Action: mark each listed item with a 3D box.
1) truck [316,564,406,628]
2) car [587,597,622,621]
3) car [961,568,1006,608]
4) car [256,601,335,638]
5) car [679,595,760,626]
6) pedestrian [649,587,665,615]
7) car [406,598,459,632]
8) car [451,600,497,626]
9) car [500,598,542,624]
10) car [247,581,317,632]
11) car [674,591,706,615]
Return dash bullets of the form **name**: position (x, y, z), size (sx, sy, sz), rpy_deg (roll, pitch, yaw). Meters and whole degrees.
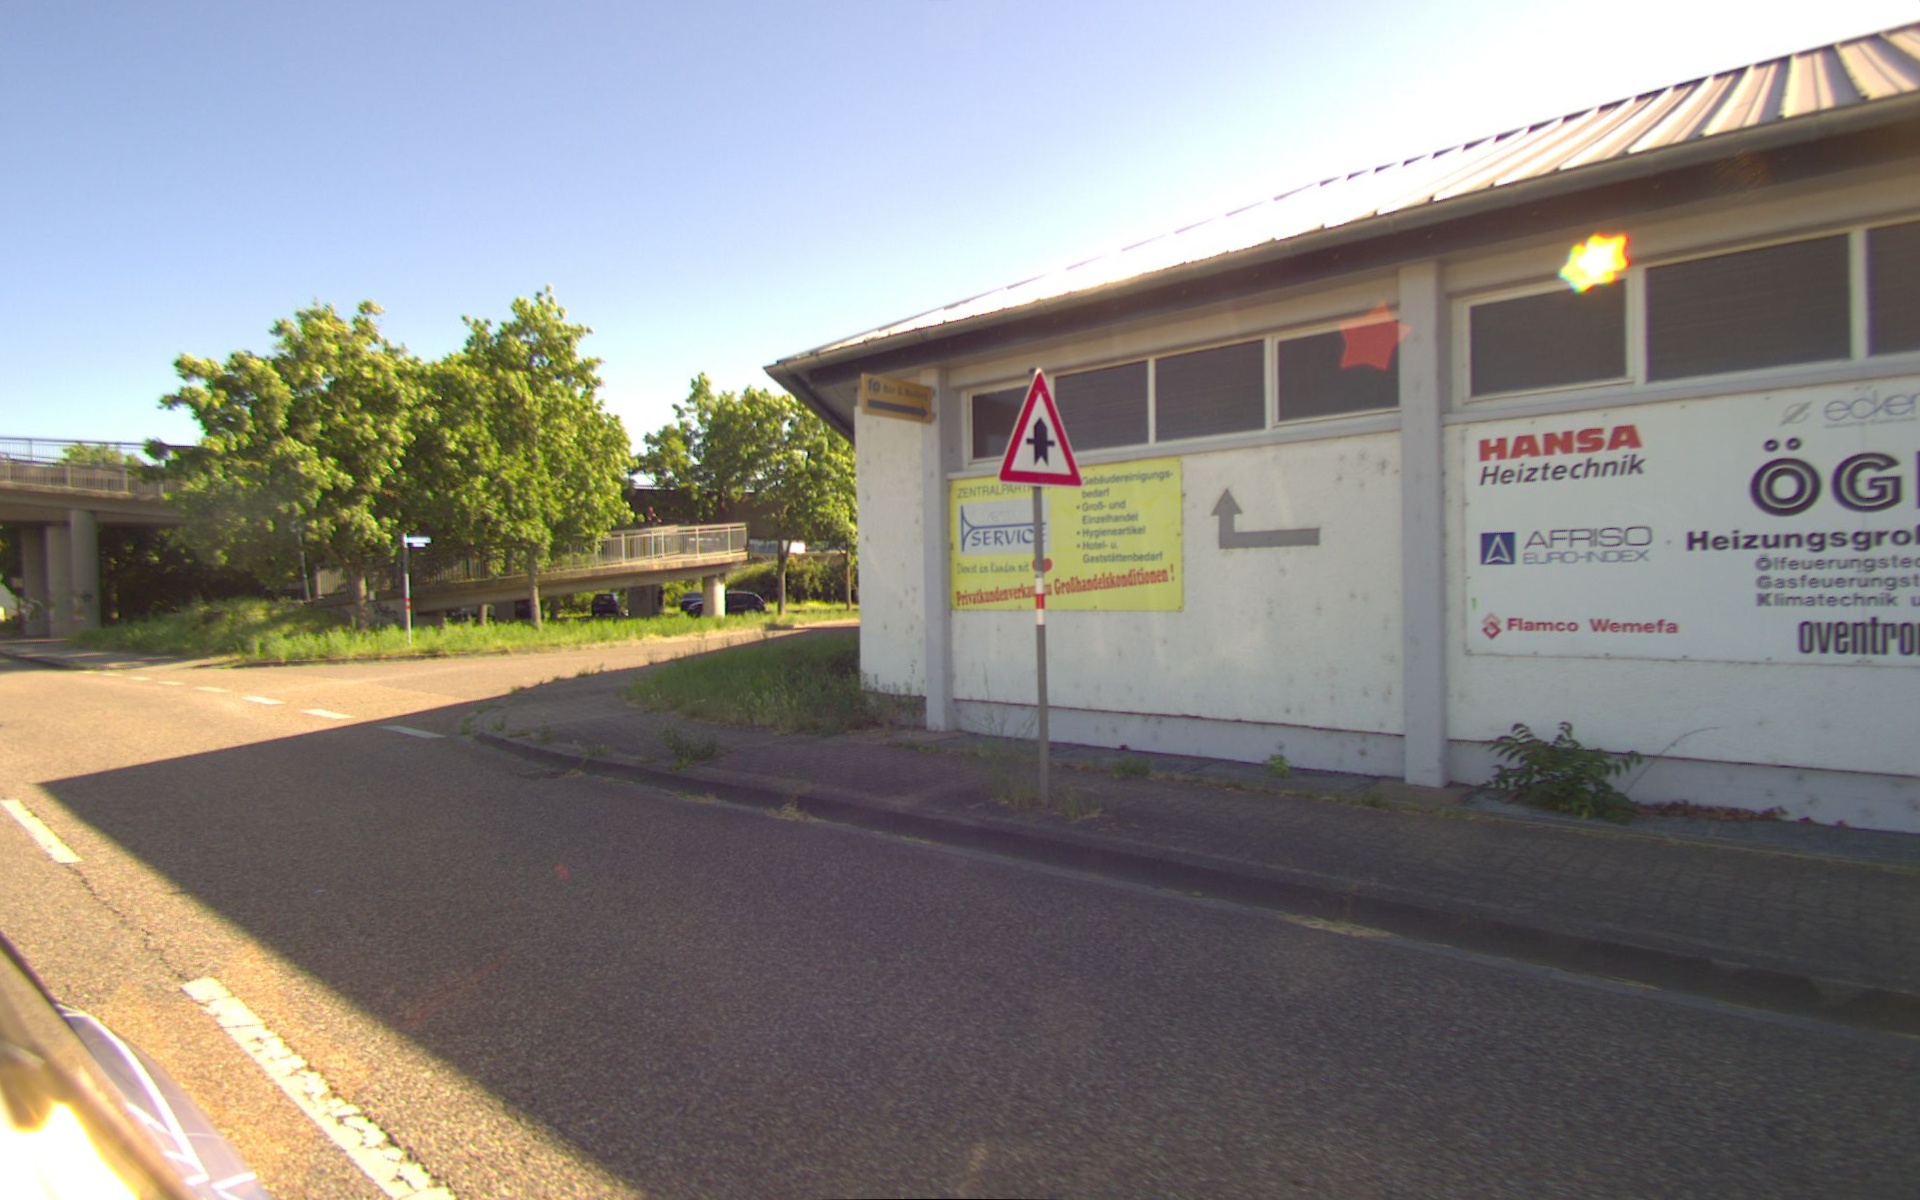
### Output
- **truck**: position (-36.168, -0.262, 61.383), size (2.441, 3.578, 7.989), rpy_deg (-1, 1, -14)
- **car**: position (-22.249, 0.531, 63.430), size (1.711, 1.453, 4.263), rpy_deg (-1, 1, -15)
- **car**: position (1.491, -0.796, 67.120), size (1.969, 2.525, 6.415), rpy_deg (-1, 1, -7)
- **car**: position (-31.572, 0.920, 48.206), size (1.838, 1.654, 4.294), rpy_deg (2, -1, -15)
- **car**: position (-13.140, 0.562, 55.249), size (4.226, 1.564, 1.688), rpy_deg (-1, 0, -14)
- **pedestrian**: position (-18.395, 0.036, 61.410), size (0.658, 1.675, 0.712), rpy_deg (-1, 0, -38)
- **car**: position (-25.613, 0.684, 49.242), size (1.654, 1.564, 4.312), rpy_deg (-1, 0, -19)
- **car**: position (-29.310, 0.737, 61.094), size (1.711, 1.453, 4.263), rpy_deg (-1, 1, -15)
- **car**: position (-26.798, 0.648, 61.862), size (1.711, 1.453, 4.263), rpy_deg (-1, 1, -15)
- **car**: position (-38.755, 0.383, 58.008), size (1.913, 2.702, 6.028), rpy_deg (-1, 0, -20)
- **car**: position (-17.105, 0.186, 64.204), size (1.712, 1.453, 4.261), rpy_deg (-1, 1, -12)
